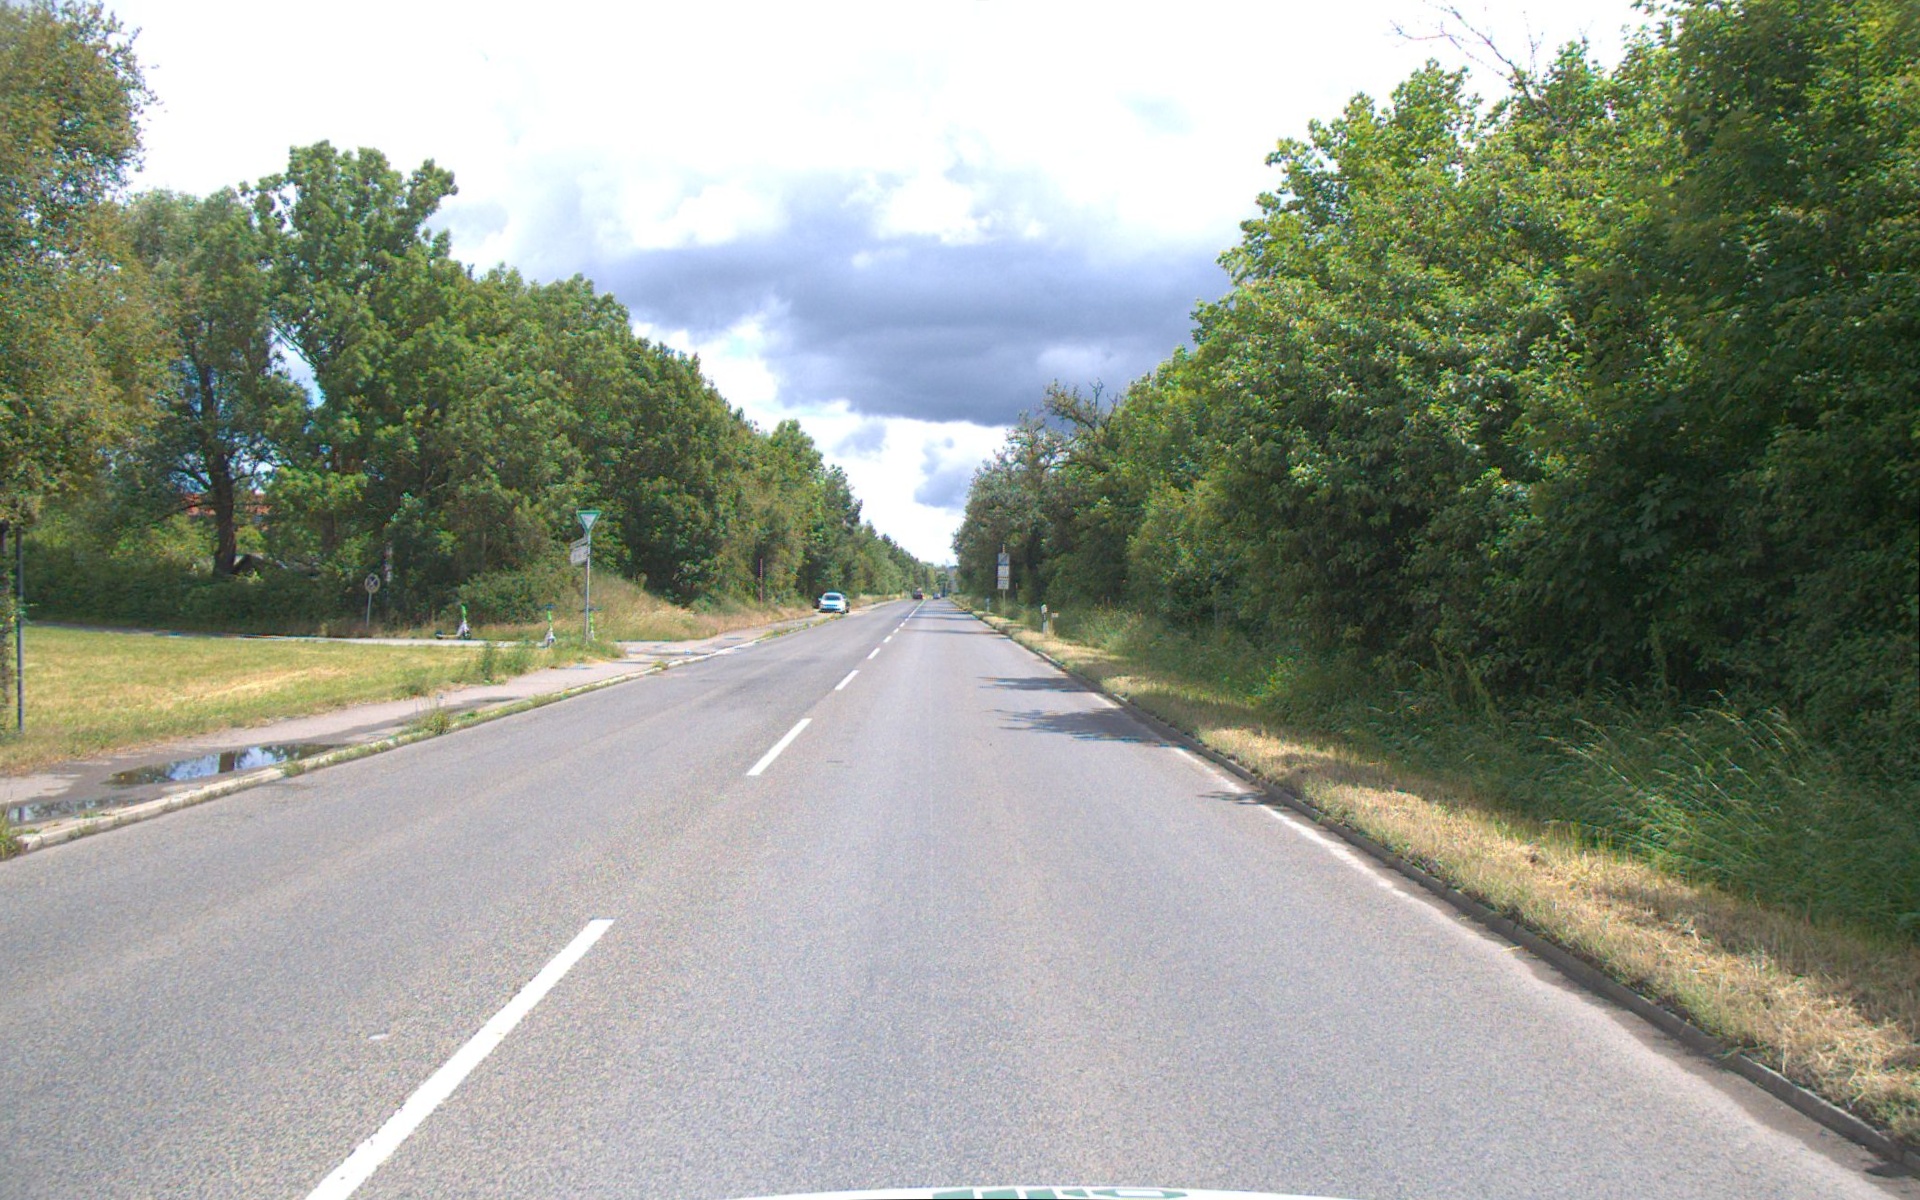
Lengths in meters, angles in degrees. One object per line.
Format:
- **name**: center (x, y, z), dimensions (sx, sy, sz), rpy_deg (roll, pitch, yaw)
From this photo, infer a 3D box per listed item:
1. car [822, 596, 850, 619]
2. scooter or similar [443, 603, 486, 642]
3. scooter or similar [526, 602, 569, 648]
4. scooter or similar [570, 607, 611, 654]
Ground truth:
- **car**: center (-8.913, 0.532, 118.836), dimensions (1.761, 1.570, 3.954), rpy_deg (0, -1, -1)
- **scooter or similar**: center (-15.270, 0.691, 50.970), dimensions (1.217, 1.189, 0.407), rpy_deg (1, 0, 12)
- **scooter or similar**: center (-10.976, 0.666, 43.984), dimensions (1.326, 1.189, 0.405), rpy_deg (1, 0, 40)
- **scooter or similar**: center (-9.687, 0.790, 43.346), dimensions (0.404, 1.189, 1.329), rpy_deg (0, 0, -44)
